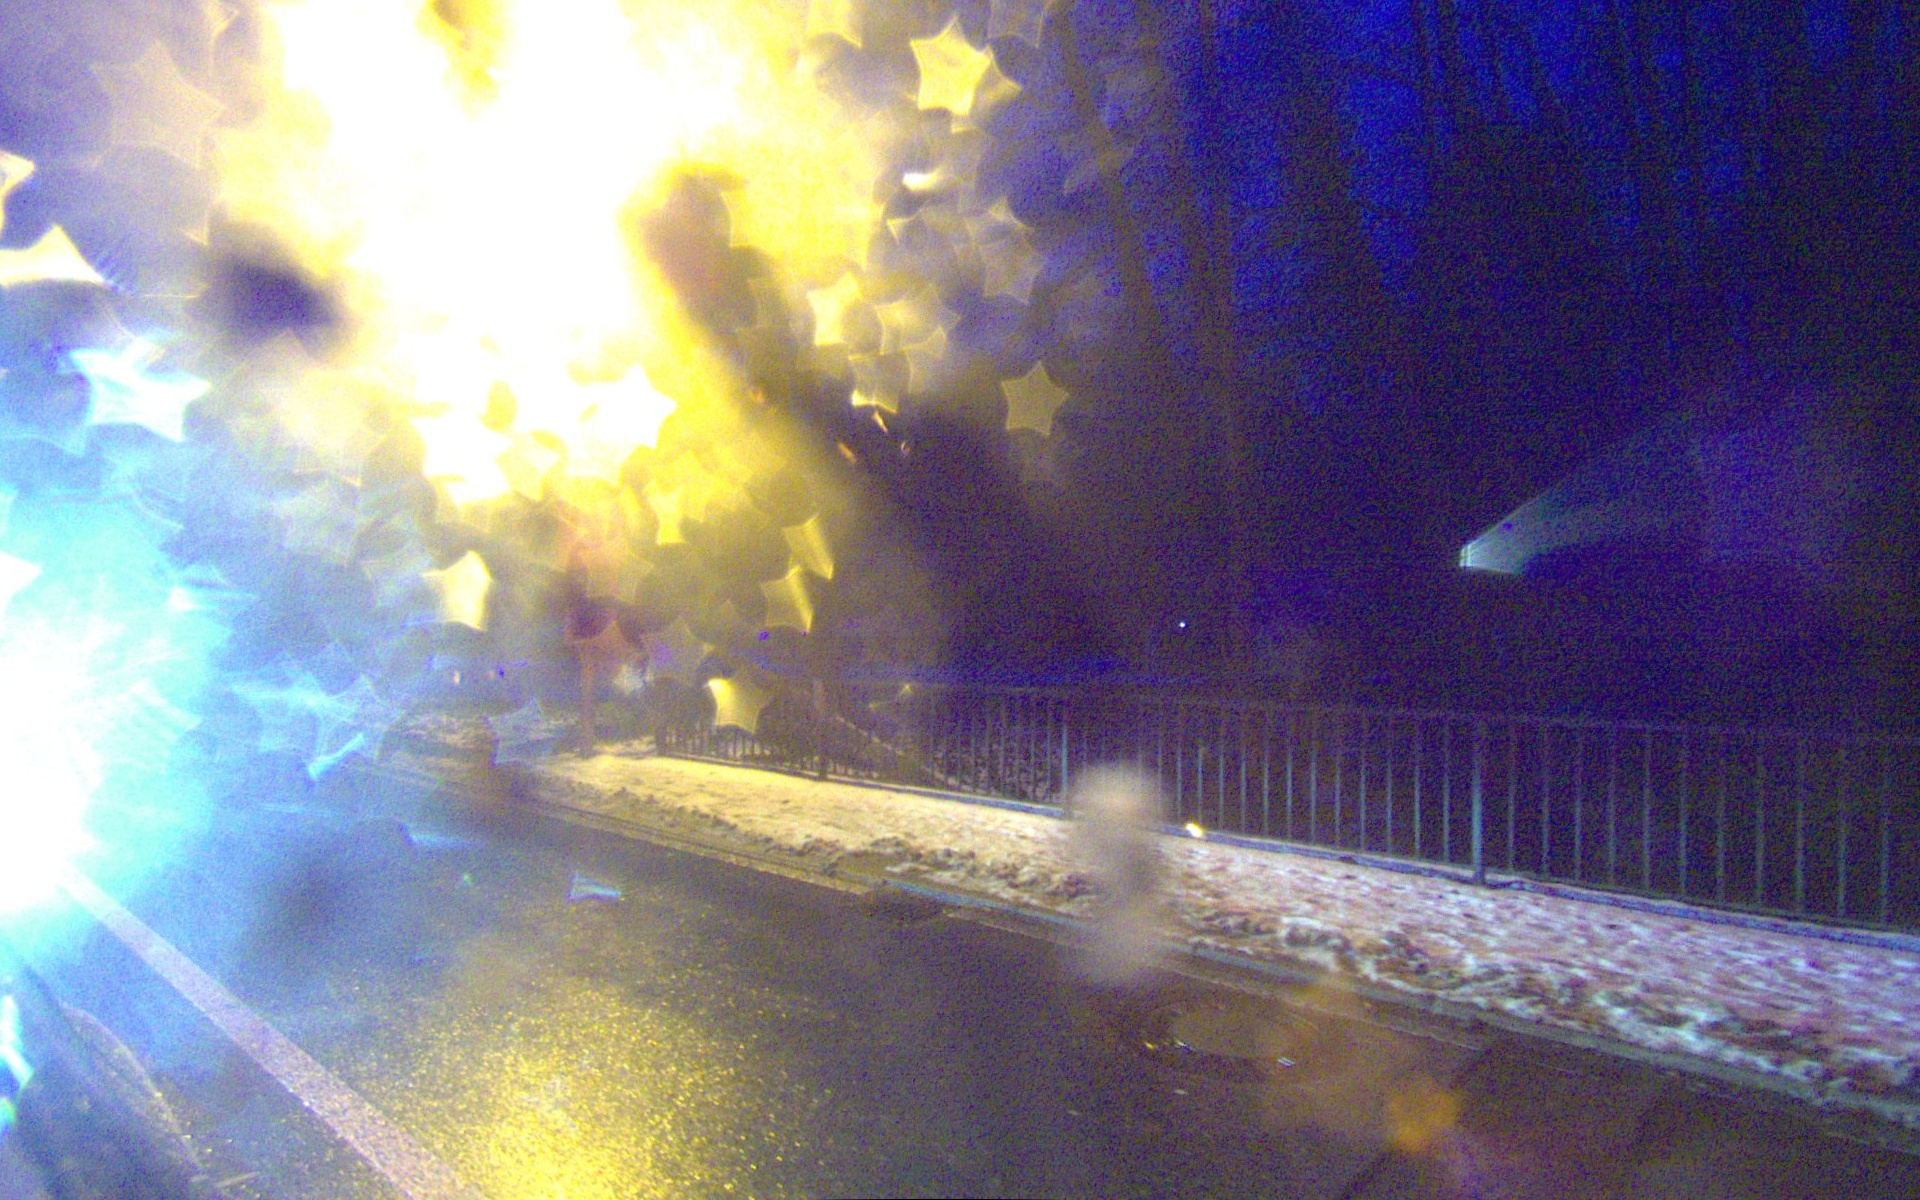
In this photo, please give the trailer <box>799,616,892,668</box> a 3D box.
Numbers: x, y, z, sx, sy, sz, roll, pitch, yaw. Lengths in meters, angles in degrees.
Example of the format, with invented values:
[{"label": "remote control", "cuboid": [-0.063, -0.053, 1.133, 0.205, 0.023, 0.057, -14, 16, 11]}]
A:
[{"label": "trailer", "cuboid": [-5.381, 1.976, 47.486, 3.745, 2.234, 1.980, 4, -2, -31]}]
